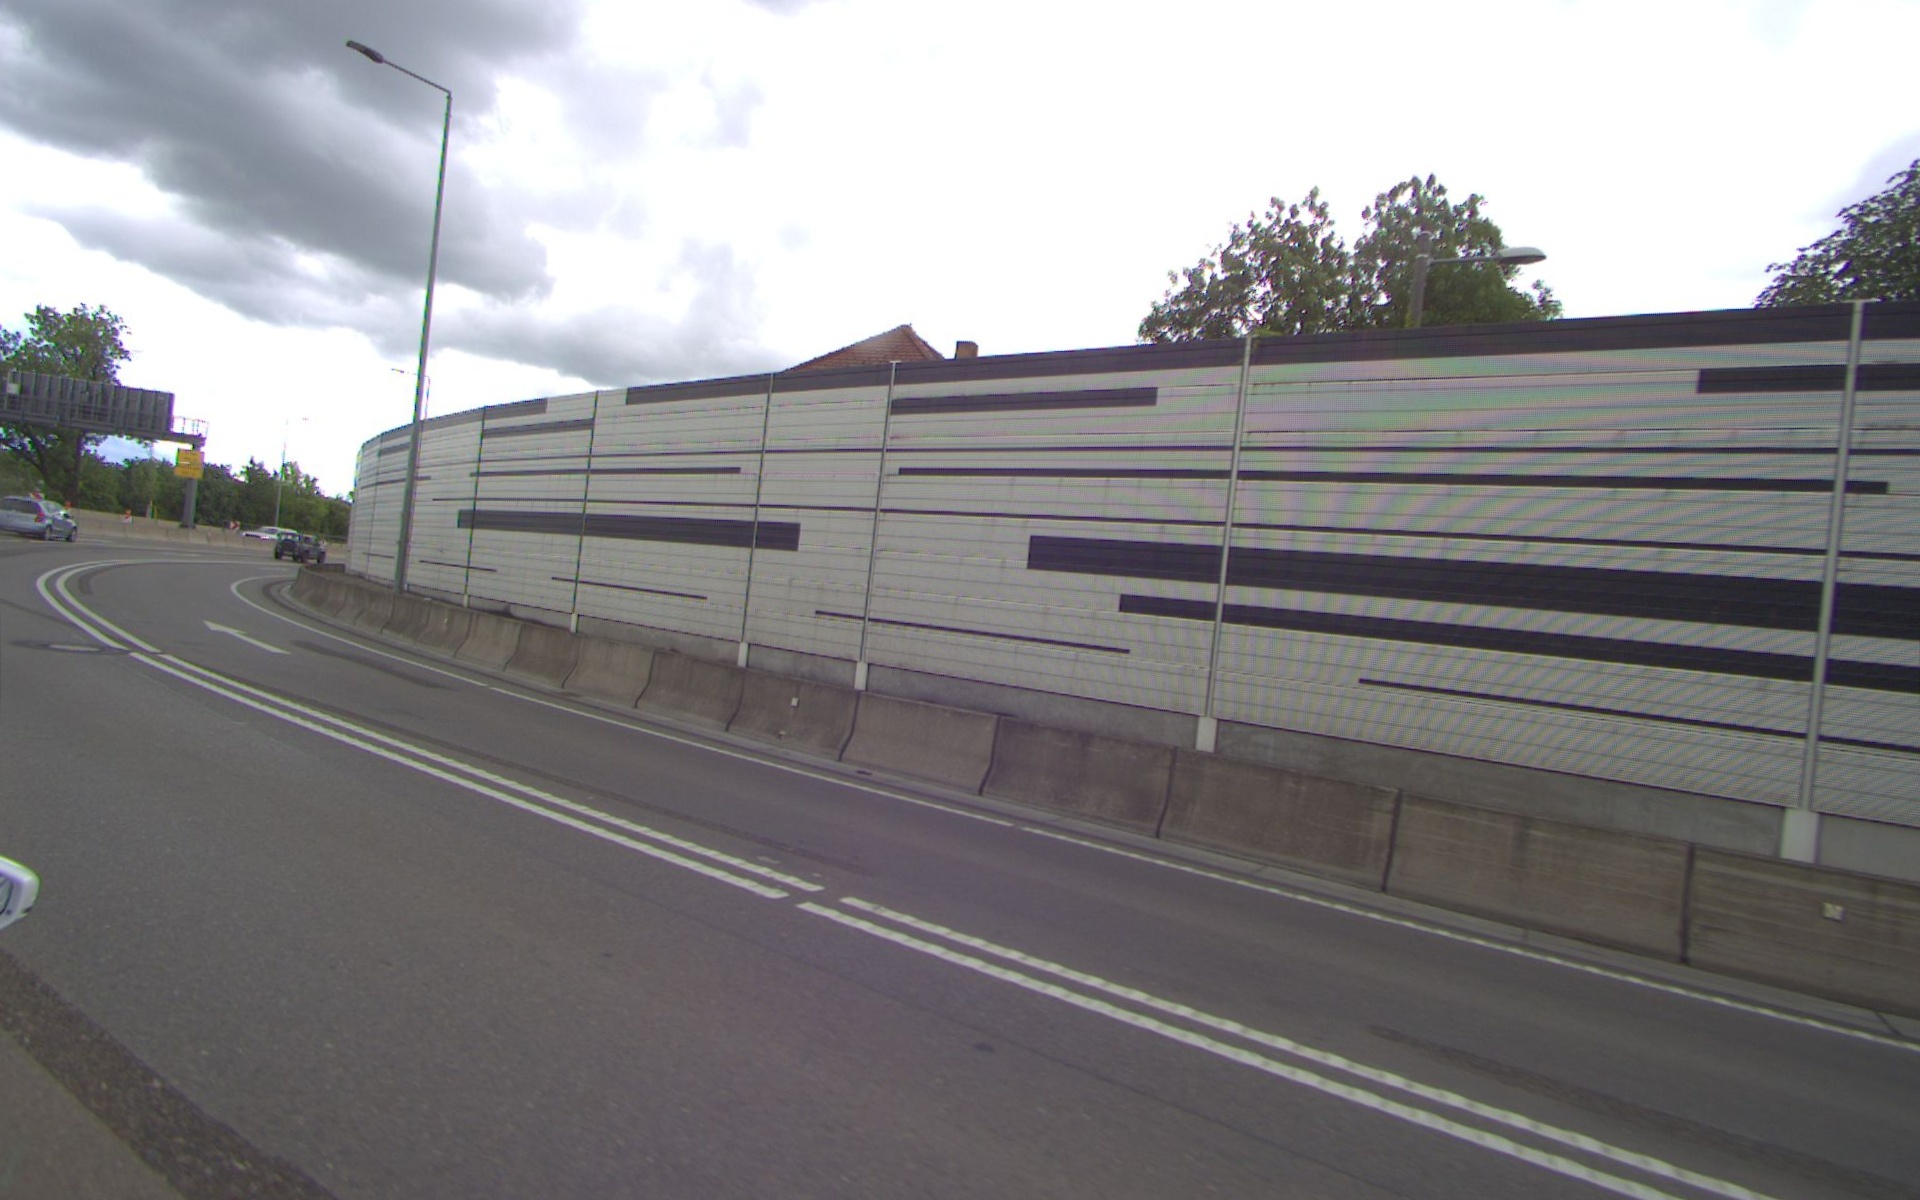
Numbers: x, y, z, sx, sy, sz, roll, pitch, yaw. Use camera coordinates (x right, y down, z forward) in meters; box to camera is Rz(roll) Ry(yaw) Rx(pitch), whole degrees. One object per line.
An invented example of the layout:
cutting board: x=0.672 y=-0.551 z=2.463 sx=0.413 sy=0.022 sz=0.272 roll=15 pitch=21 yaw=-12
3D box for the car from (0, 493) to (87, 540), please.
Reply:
car: x=-36.849 y=-3.312 z=40.076 sx=1.903 sy=1.506 sz=4.041 roll=8 pitch=-1 yaw=-24

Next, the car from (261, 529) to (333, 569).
car: x=-39.969 y=-3.040 z=60.722 sx=1.966 sy=1.881 sz=3.996 roll=7 pitch=-2 yaw=-9

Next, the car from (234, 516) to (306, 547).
car: x=-51.033 y=-5.027 z=74.494 sx=2.069 sy=1.569 sz=5.139 roll=9 pitch=-2 yaw=-7
